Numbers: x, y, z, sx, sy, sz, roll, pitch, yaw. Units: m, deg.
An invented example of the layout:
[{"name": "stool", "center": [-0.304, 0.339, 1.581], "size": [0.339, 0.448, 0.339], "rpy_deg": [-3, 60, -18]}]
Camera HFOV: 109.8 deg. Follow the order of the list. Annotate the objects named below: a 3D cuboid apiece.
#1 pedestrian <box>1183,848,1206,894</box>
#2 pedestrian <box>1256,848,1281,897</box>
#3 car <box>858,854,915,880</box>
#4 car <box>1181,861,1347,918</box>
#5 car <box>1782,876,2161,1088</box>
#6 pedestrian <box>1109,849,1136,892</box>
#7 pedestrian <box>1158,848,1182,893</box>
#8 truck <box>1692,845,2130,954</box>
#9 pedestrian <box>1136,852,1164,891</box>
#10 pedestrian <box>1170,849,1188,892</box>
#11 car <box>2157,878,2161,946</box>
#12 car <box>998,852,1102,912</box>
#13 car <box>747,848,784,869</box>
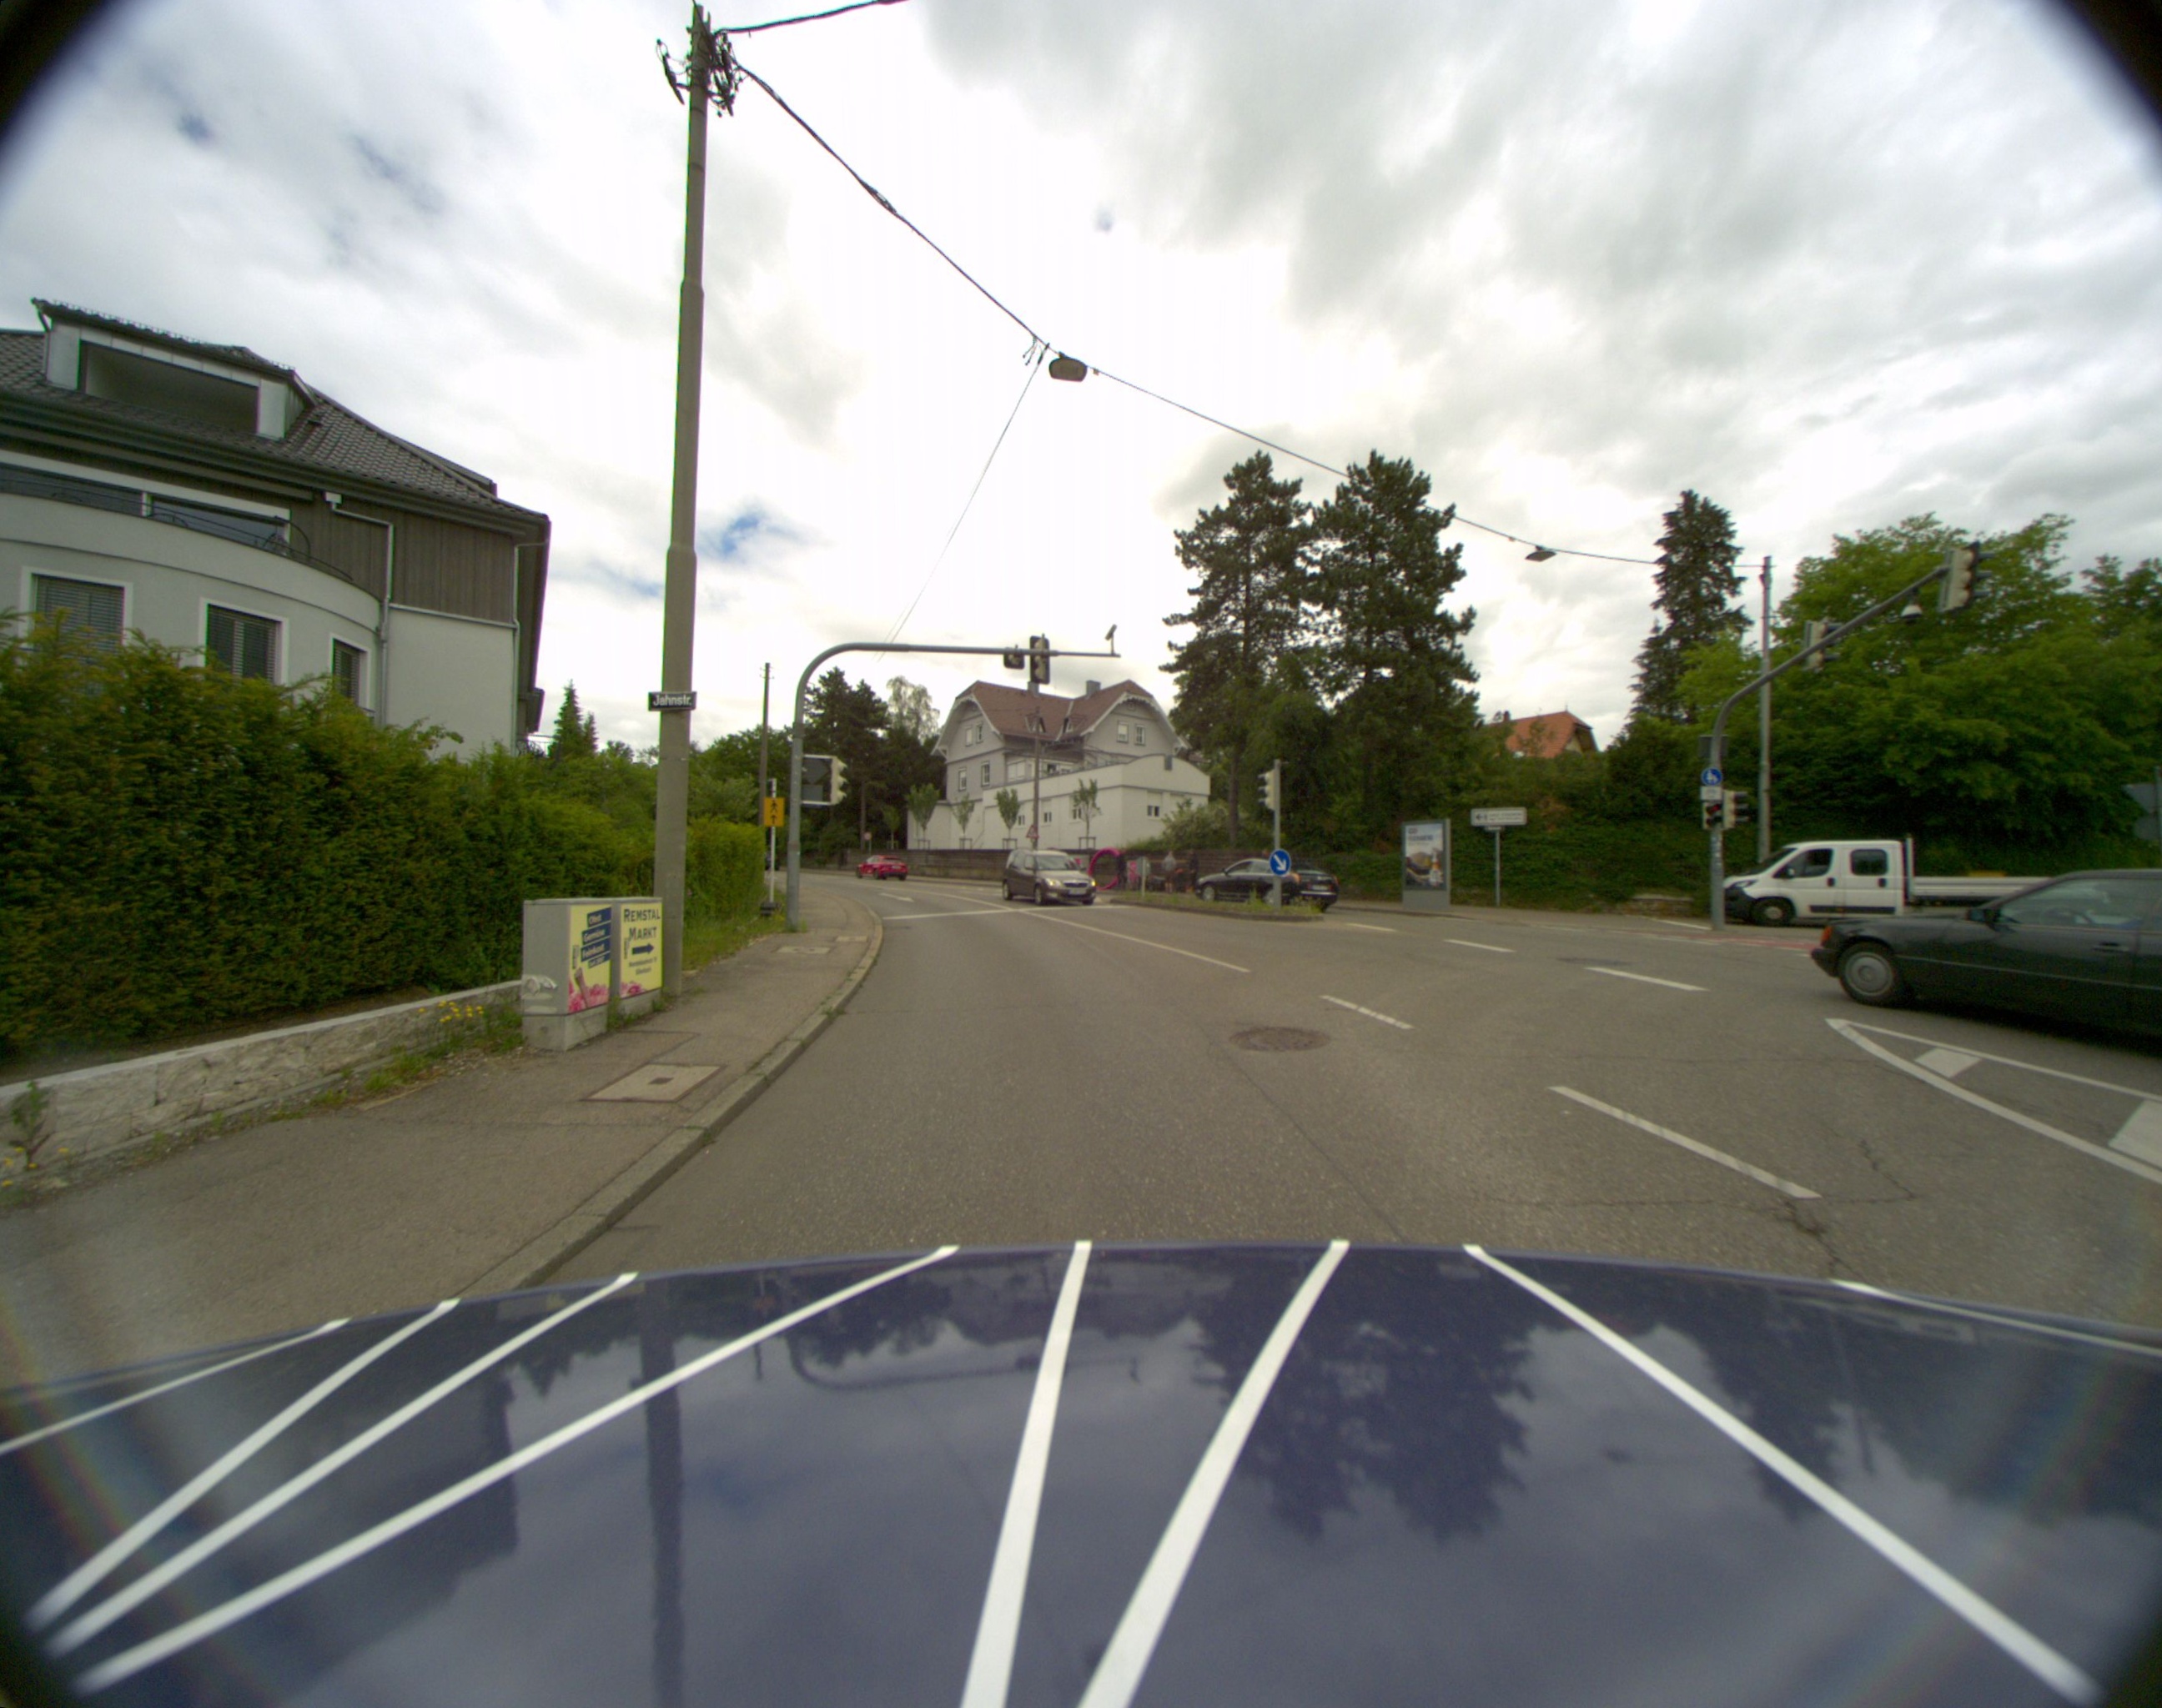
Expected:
[{"name": "pedestrian", "center": [4.571, 0.671, 30.550], "size": [0.605, 1.824, 0.611], "rpy_deg": [1, 0, -44]}, {"name": "pedestrian", "center": [7.129, 0.691, 28.850], "size": [0.680, 1.824, 0.611], "rpy_deg": [1, 0, -44]}, {"name": "car", "center": [-11.533, 0.758, 44.862], "size": [1.812, 1.348, 3.989], "rpy_deg": [3, -1, -38]}, {"name": "car", "center": [5.119, 0.930, 22.112], "size": [2.003, 1.414, 5.047], "rpy_deg": [1, 0, -24]}, {"name": "car", "center": [8.177, 0.916, 5.567], "size": [1.850, 1.320, 4.870], "rpy_deg": [1, 0, 5]}, {"name": "pedestrian", "center": [1.776, 0.695, 32.483], "size": [0.882, 1.803, 0.686], "rpy_deg": [1, 0, -42]}, {"name": "pedestrian", "center": [3.591, 0.665, 30.749], "size": [0.614, 1.777, 0.665], "rpy_deg": [1, 0, -42]}, {"name": "truck", "center": [19.371, 0.919, 18.481], "size": [6.698, 2.176, 2.535], "rpy_deg": [1, 1, 31]}, {"name": "pedestrian", "center": [2.944, 0.752, 32.509], "size": [0.882, 1.643, 0.749], "rpy_deg": [1, 0, -42]}, {"name": "pedestrian", "center": [4.086, 0.693, 31.741], "size": [0.511, 1.802, 0.503], "rpy_deg": [1, 0, -42]}, {"name": "car", "center": [27.623, 1.414, 18.127], "size": [4.007, 1.603, 1.995], "rpy_deg": [1, 0, -32]}, {"name": "car", "center": [-1.007, 0.729, 22.282], "size": [1.620, 1.571, 3.992], "rpy_deg": [0, 0, -25]}, {"name": "car", "center": [-26.337, 0.355, 63.460], "size": [1.936, 1.669, 3.560], "rpy_deg": [3, -1, -38]}]
